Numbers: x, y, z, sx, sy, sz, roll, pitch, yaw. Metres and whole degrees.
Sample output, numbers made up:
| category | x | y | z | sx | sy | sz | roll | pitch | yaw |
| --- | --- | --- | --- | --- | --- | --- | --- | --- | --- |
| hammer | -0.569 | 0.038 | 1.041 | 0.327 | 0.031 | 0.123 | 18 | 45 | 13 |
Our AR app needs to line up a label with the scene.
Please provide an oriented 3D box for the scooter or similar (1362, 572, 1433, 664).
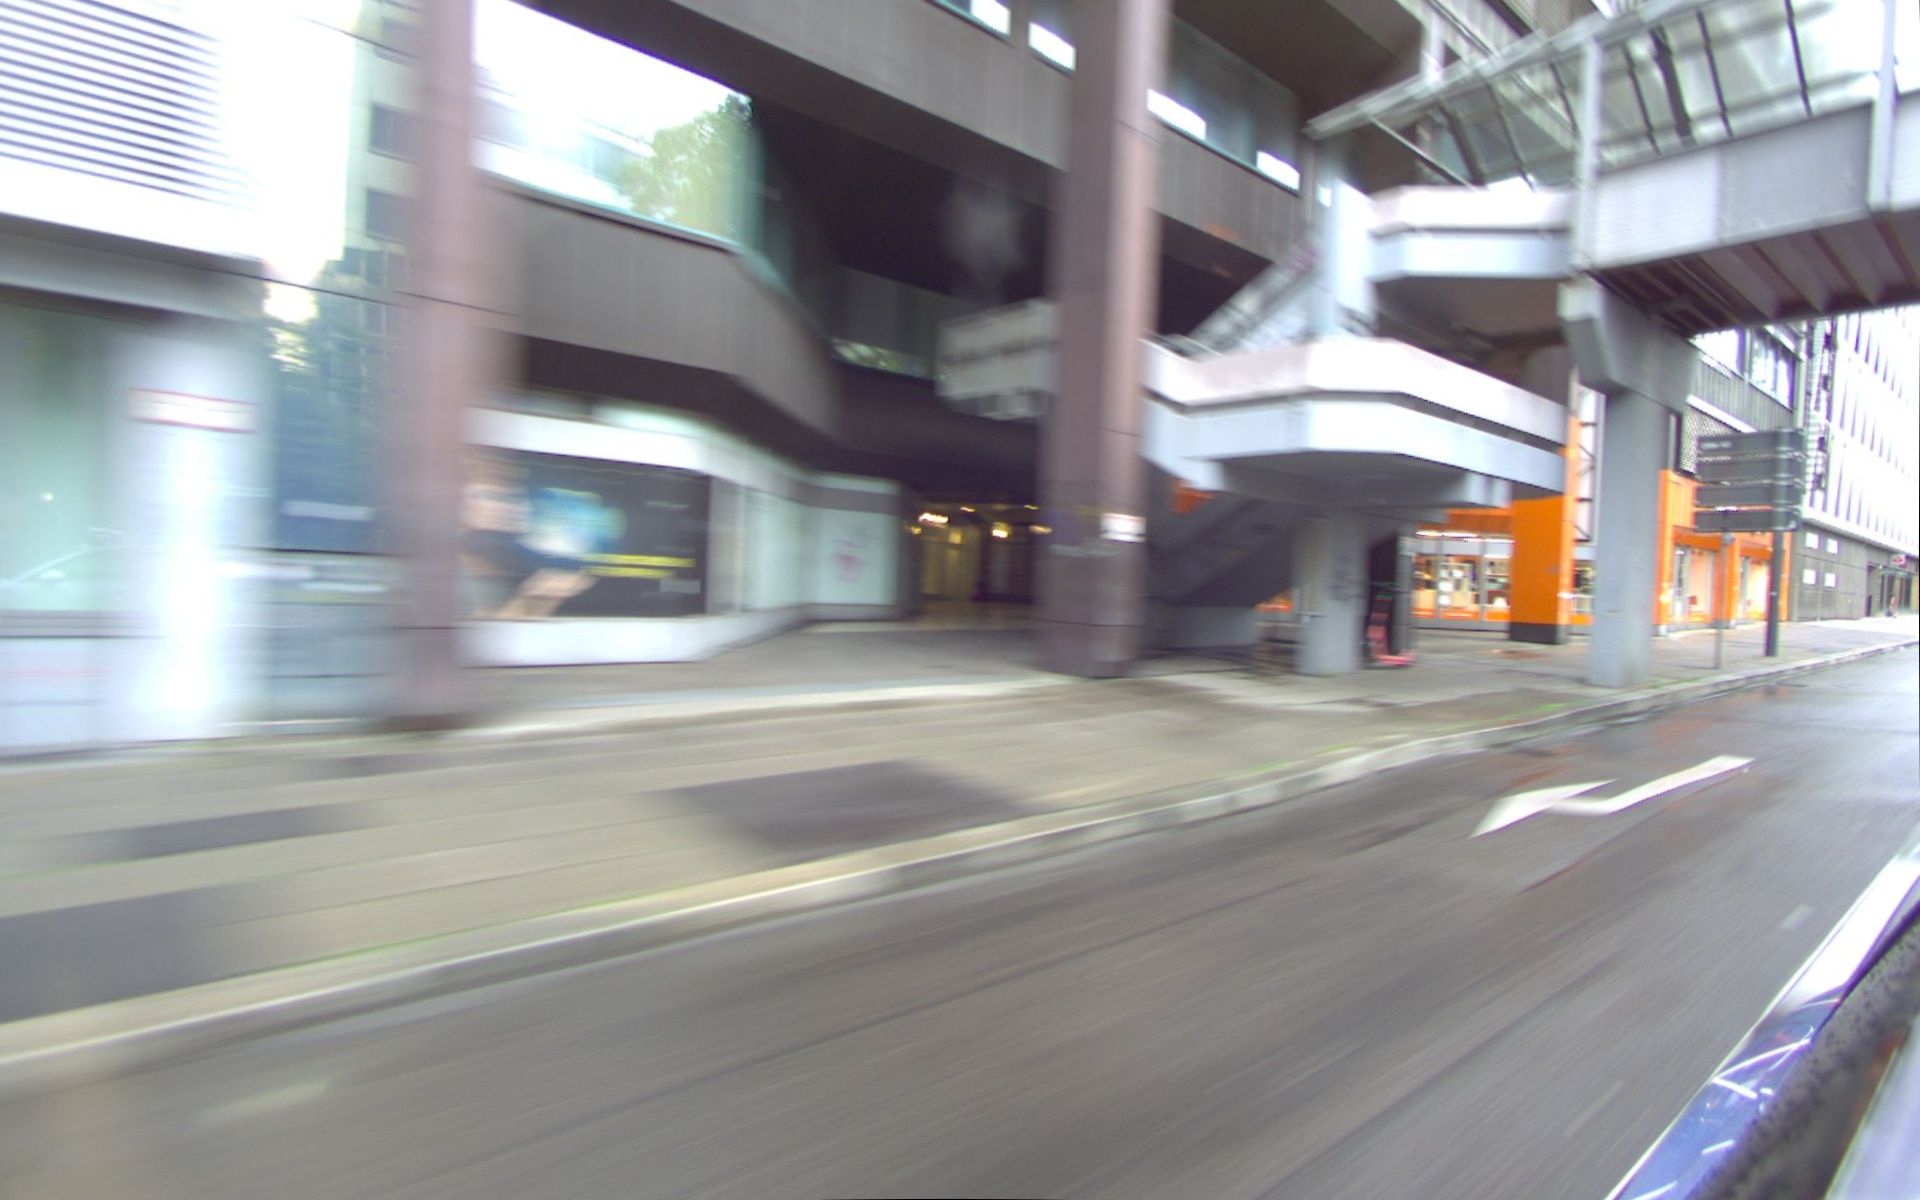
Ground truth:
| category | x | y | z | sx | sy | sz | roll | pitch | yaw |
| --- | --- | --- | --- | --- | --- | --- | --- | --- | --- |
| scooter or similar | 6.361 | 0.250 | 14.687 | 1.370 | 1.271 | 0.350 | 0 | 2 | -41 |

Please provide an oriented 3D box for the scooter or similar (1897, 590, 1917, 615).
| category | x | y | z | sx | sy | sz | roll | pitch | yaw |
| --- | --- | --- | --- | --- | --- | --- | --- | --- | --- |
| scooter or similar | 47.744 | 0.134 | 51.029 | 1.165 | 1.251 | 0.413 | 1 | 1 | -32 |
